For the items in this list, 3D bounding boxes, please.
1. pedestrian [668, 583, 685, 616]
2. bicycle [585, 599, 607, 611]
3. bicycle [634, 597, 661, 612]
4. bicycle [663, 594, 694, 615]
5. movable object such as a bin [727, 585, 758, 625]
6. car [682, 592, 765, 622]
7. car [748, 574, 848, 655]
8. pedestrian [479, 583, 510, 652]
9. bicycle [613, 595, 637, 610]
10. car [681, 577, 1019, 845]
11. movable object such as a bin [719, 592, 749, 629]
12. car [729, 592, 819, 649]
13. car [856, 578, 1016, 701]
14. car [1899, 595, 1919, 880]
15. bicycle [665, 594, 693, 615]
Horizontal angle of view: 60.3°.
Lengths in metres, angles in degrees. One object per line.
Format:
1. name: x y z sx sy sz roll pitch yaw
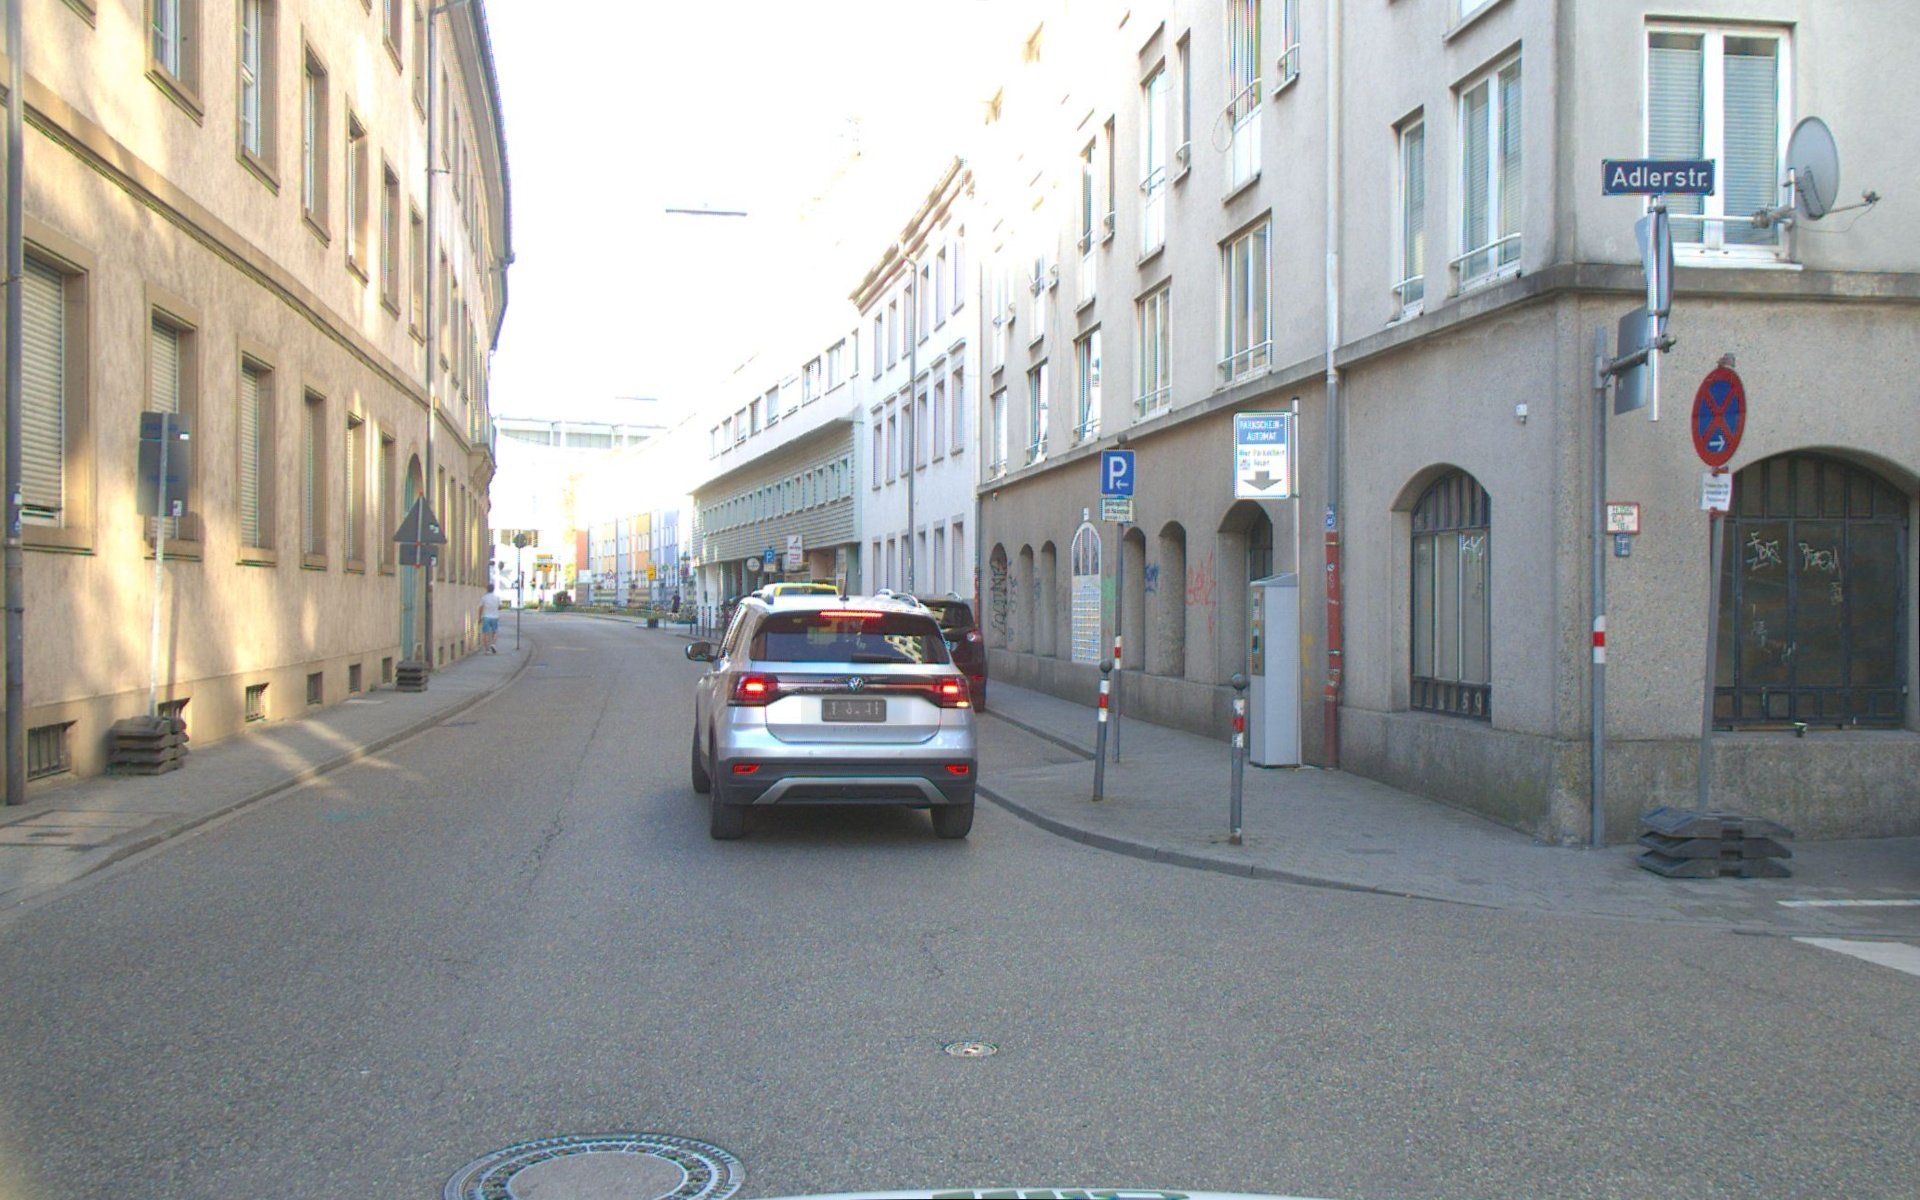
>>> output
1. pedestrian: -16.021 -0.021 93.483 0.686 1.790 1.182 -3 1 -18
2. bicycle: -31.373 0.430 142.547 1.730 1.021 0.609 -2 0 -24
3. bicycle: -21.383 0.318 113.239 1.722 0.963 0.549 -1 0 -19
4. bicycle: -17.023 0.289 100.110 1.722 1.161 0.549 -4 2 -19
5. movable object such as a bin: -8.591 0.188 65.351 0.965 1.506 1.544 -2 -2 -16
6. car: -12.207 0.340 85.280 4.016 1.508 1.855 0 0 -19
7. car: -4.143 0.330 41.566 1.851 1.915 4.828 1 0 -14
8. pedestrian: -11.678 0.428 41.528 0.681 1.699 0.871 2 -1 -14
9. bicycle: -26.193 0.174 129.255 1.784 1.157 0.548 -1 0 -21
10. car: -0.968 0.652 11.950 1.794 1.586 3.972 1 0 -13
11. movable object such as a bin: -9.138 0.434 66.879 0.965 1.409 1.314 -2 -2 -16
12. car: -5.310 0.538 46.698 1.852 1.515 4.349 1 0 -16
13. car: -0.461 0.540 25.191 1.791 1.683 4.484 1 0 -9
14. car: 7.409 0.785 8.722 3.989 1.595 1.765 0 0 -5
15. bicycle: -17.230 0.272 101.497 1.622 1.161 0.281 -4 2 -27
